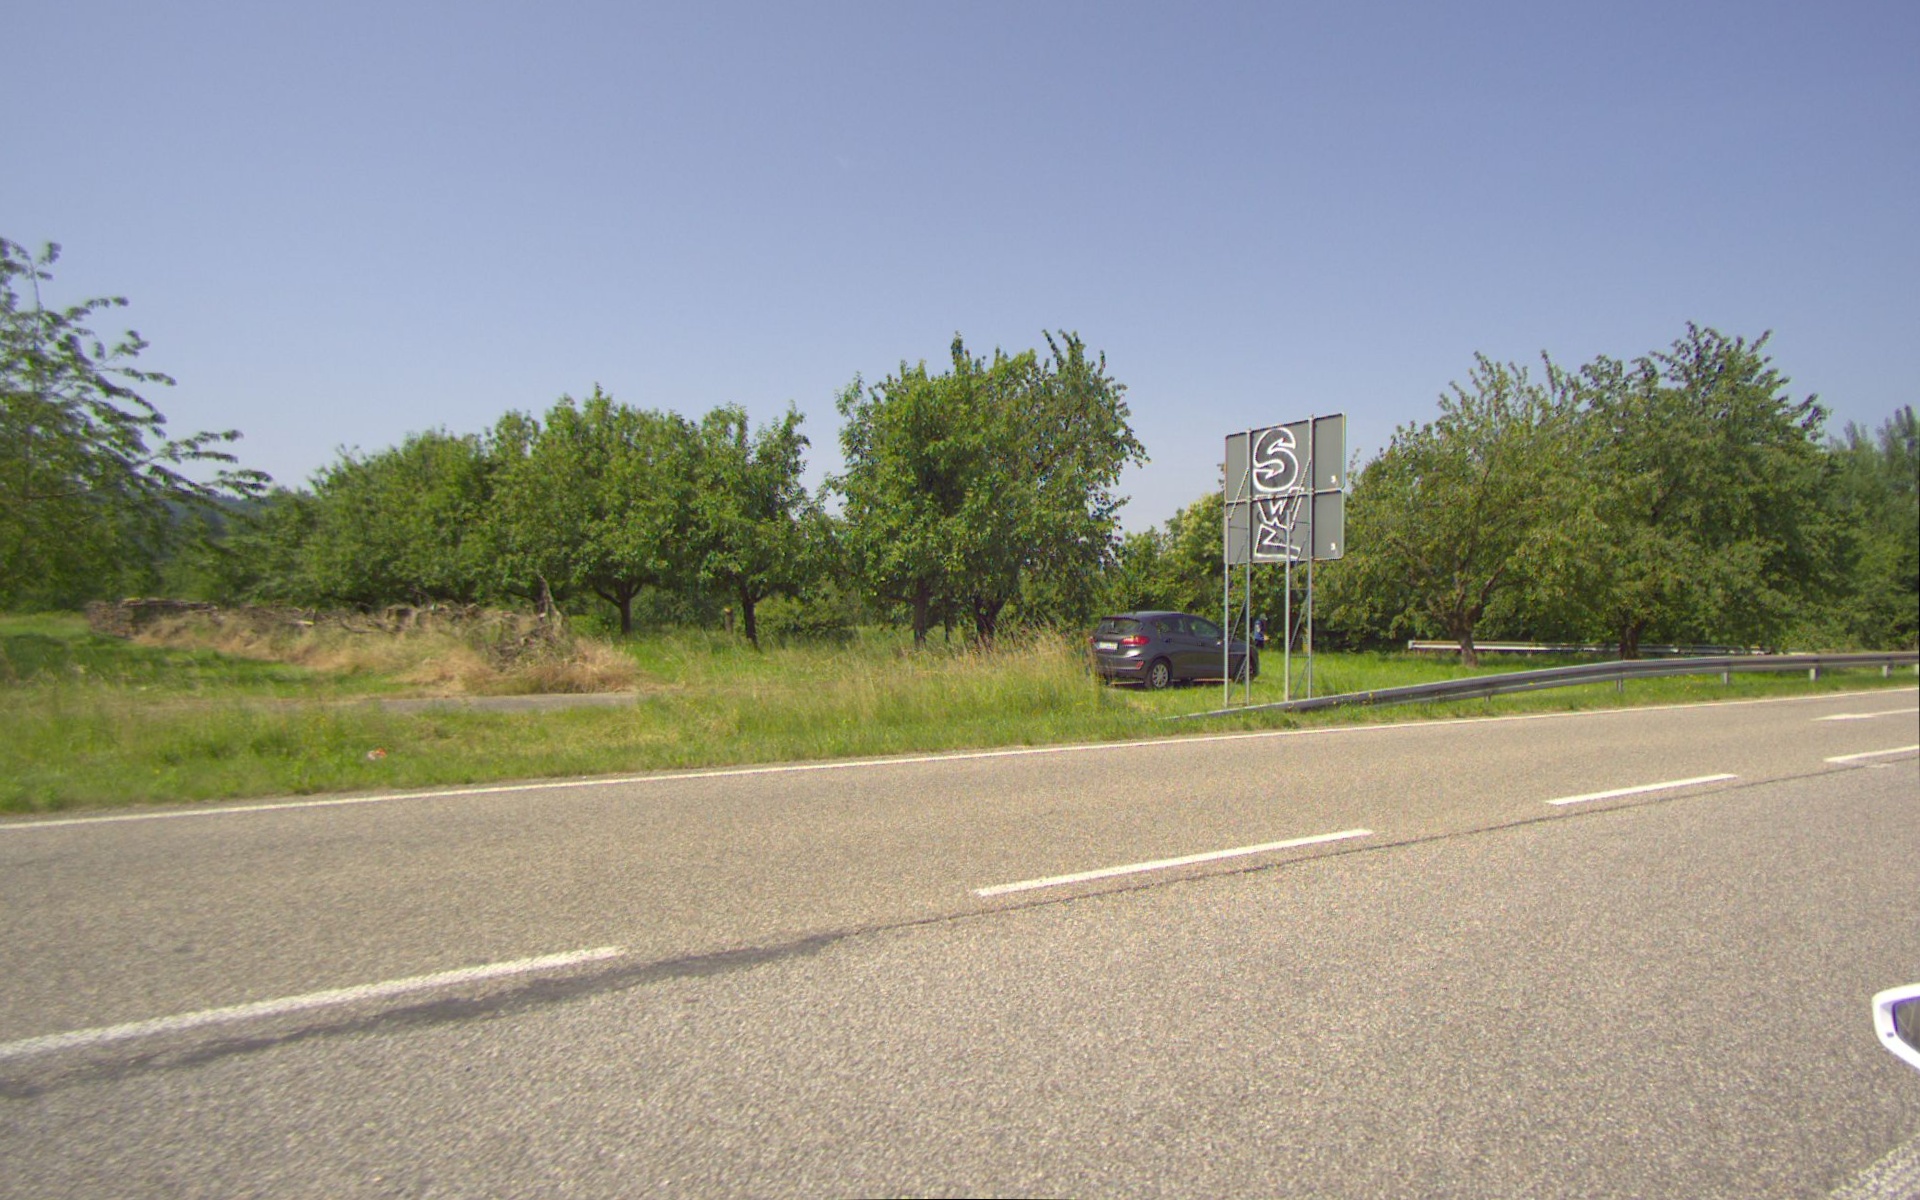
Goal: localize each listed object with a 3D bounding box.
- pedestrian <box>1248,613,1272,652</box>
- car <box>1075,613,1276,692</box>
[{"bbox_3d":[10.401,1.131,34.833,0.549,1.314,0.571,1,0,-28],"label":"pedestrian"},{"bbox_3d":[4.357,0.996,20.080,4.003,1.442,1.693,1,-1,-35],"label":"car"}]
